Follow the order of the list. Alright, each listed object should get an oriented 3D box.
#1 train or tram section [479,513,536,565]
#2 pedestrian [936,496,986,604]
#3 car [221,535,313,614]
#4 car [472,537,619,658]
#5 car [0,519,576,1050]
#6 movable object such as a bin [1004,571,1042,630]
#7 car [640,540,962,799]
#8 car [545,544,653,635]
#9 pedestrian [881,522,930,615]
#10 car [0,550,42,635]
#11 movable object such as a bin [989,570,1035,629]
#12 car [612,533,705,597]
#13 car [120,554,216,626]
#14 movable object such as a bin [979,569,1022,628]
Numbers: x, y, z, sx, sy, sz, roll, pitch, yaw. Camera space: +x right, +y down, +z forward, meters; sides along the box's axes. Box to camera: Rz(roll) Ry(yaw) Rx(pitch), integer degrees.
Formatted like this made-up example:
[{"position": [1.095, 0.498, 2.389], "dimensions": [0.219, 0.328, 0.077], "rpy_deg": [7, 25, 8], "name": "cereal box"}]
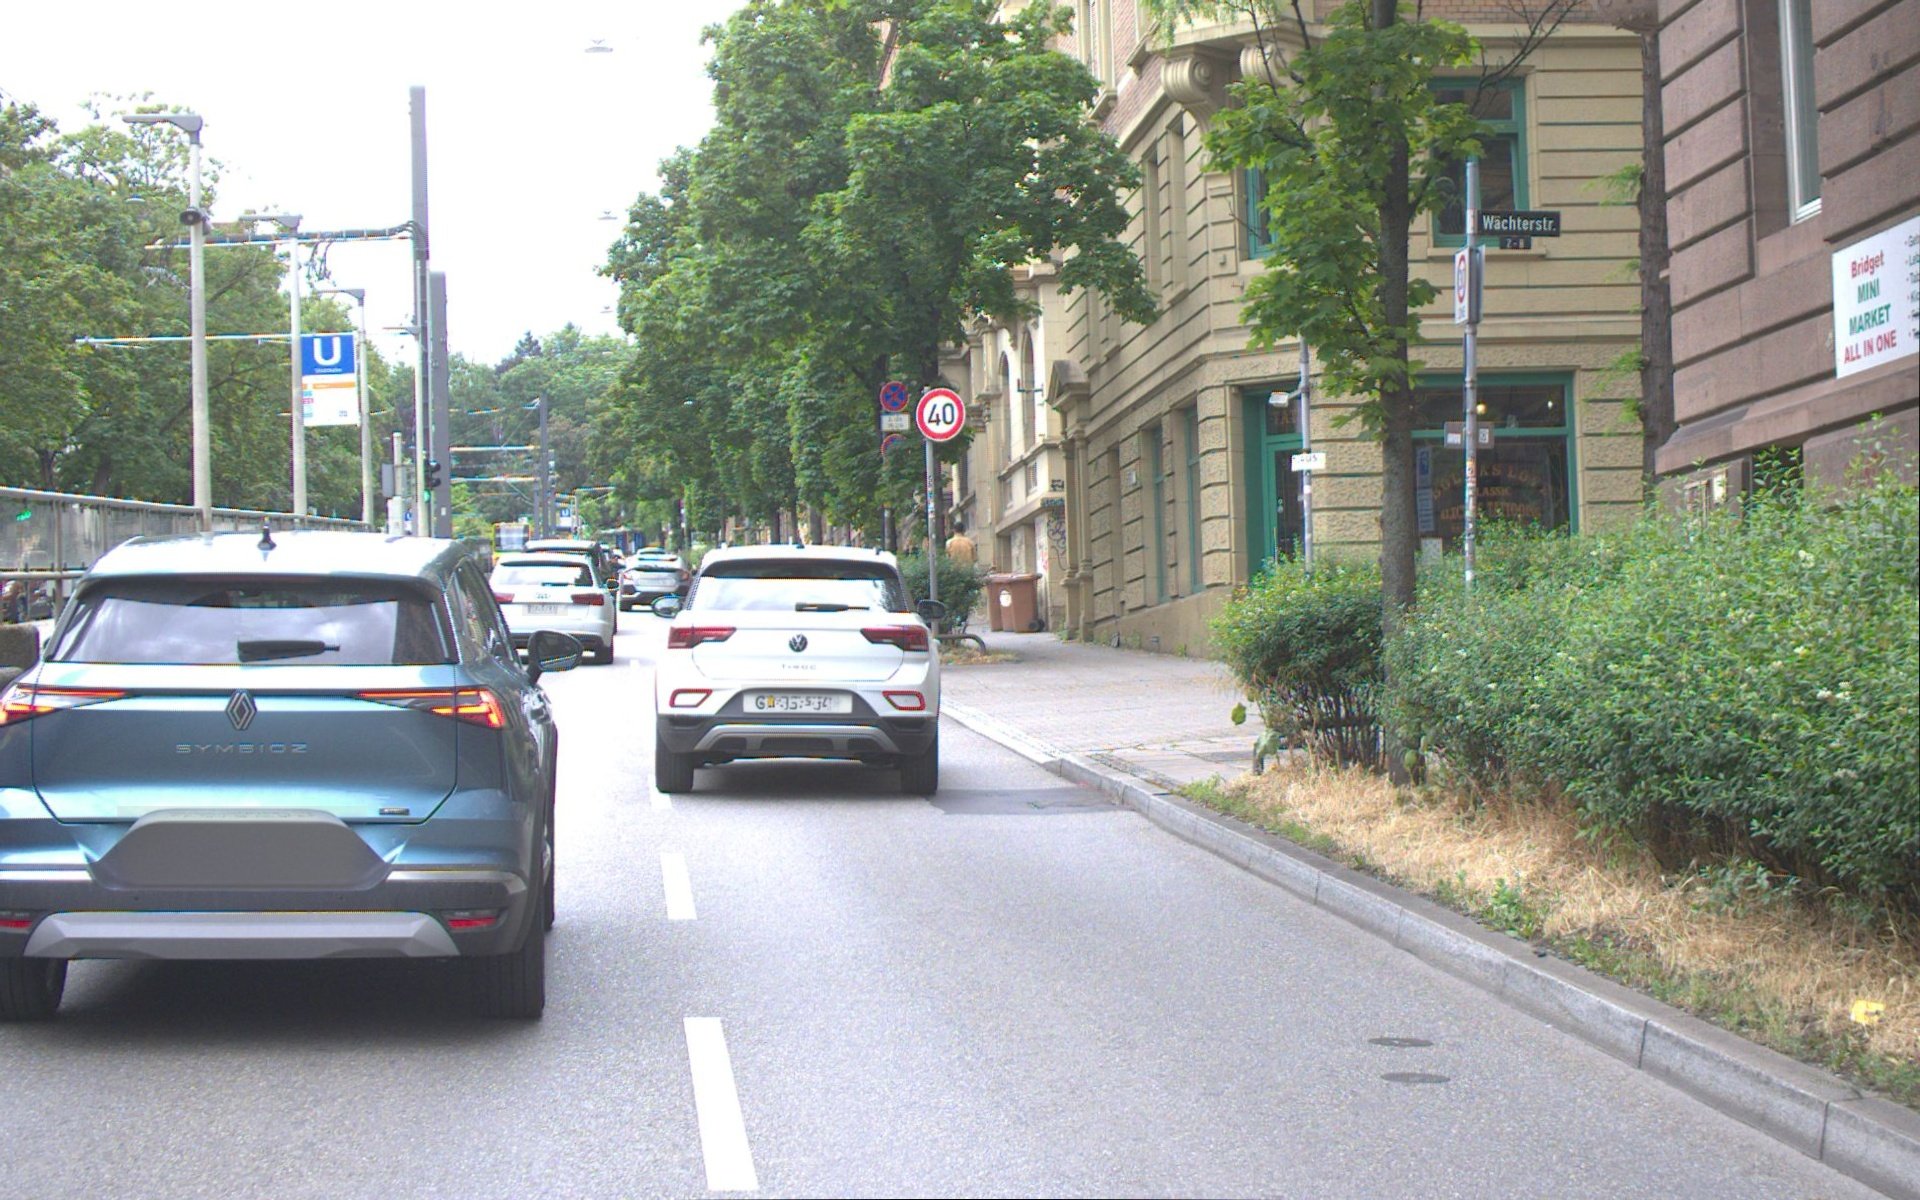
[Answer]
[{"position": [-29.972, -3.991, 228.050], "dimensions": [2.995, 3.337, 13.441], "rpy_deg": [-1, 1, -5], "name": "train or tram section"}, {"position": [0.010, -0.866, 59.671], "dimensions": [0.685, 1.823, 1.121], "rpy_deg": [-3, 0, -6], "name": "pedestrian"}, {"position": [-25.182, -0.960, 125.144], "dimensions": [2.392, 2.690, 6.519], "rpy_deg": [-3, 1, -4], "name": "car"}, {"position": [-5.554, -0.043, 46.462], "dimensions": [1.835, 1.541, 4.194], "rpy_deg": [1, 0, -5], "name": "car"}, {"position": [-2.330, 0.525, 12.111], "dimensions": [1.835, 1.541, 4.194], "rpy_deg": [1, 0, -5], "name": "car"}, {"position": [1.001, 0.003, 54.333], "dimensions": [0.500, 0.916, 0.443], "rpy_deg": [-1, 1, 14], "name": "movable object such as a bin"}, {"position": [-1.143, 0.402, 22.704], "dimensions": [1.835, 1.541, 4.194], "rpy_deg": [1, 0, -6], "name": "car"}, {"position": [-6.374, -0.196, 61.014], "dimensions": [1.835, 1.541, 4.194], "rpy_deg": [1, 0, -5], "name": "car"}, {"position": [-0.955, -0.556, 59.740], "dimensions": [0.685, 1.569, 1.217], "rpy_deg": [-3, 1, -6], "name": "pedestrian"}, {"position": [-22.168, -0.176, 77.808], "dimensions": [1.848, 1.853, 4.139], "rpy_deg": [-1, 1, -3], "name": "car"}, {"position": [0.834, -0.007, 54.976], "dimensions": [0.493, 0.916, 0.500], "rpy_deg": [-2, 1, 43], "name": "movable object such as a bin"}, {"position": [-7.447, -0.863, 85.187], "dimensions": [2.068, 1.541, 4.194], "rpy_deg": [1, 0, -2], "name": "car"}, {"position": [-19.981, -0.281, 86.924], "dimensions": [1.709, 1.730, 4.577], "rpy_deg": [-1, 1, -5], "name": "car"}, {"position": [0.652, -0.019, 55.552], "dimensions": [0.611, 0.916, 0.493], "rpy_deg": [-3, 1, -3], "name": "movable object such as a bin"}]
